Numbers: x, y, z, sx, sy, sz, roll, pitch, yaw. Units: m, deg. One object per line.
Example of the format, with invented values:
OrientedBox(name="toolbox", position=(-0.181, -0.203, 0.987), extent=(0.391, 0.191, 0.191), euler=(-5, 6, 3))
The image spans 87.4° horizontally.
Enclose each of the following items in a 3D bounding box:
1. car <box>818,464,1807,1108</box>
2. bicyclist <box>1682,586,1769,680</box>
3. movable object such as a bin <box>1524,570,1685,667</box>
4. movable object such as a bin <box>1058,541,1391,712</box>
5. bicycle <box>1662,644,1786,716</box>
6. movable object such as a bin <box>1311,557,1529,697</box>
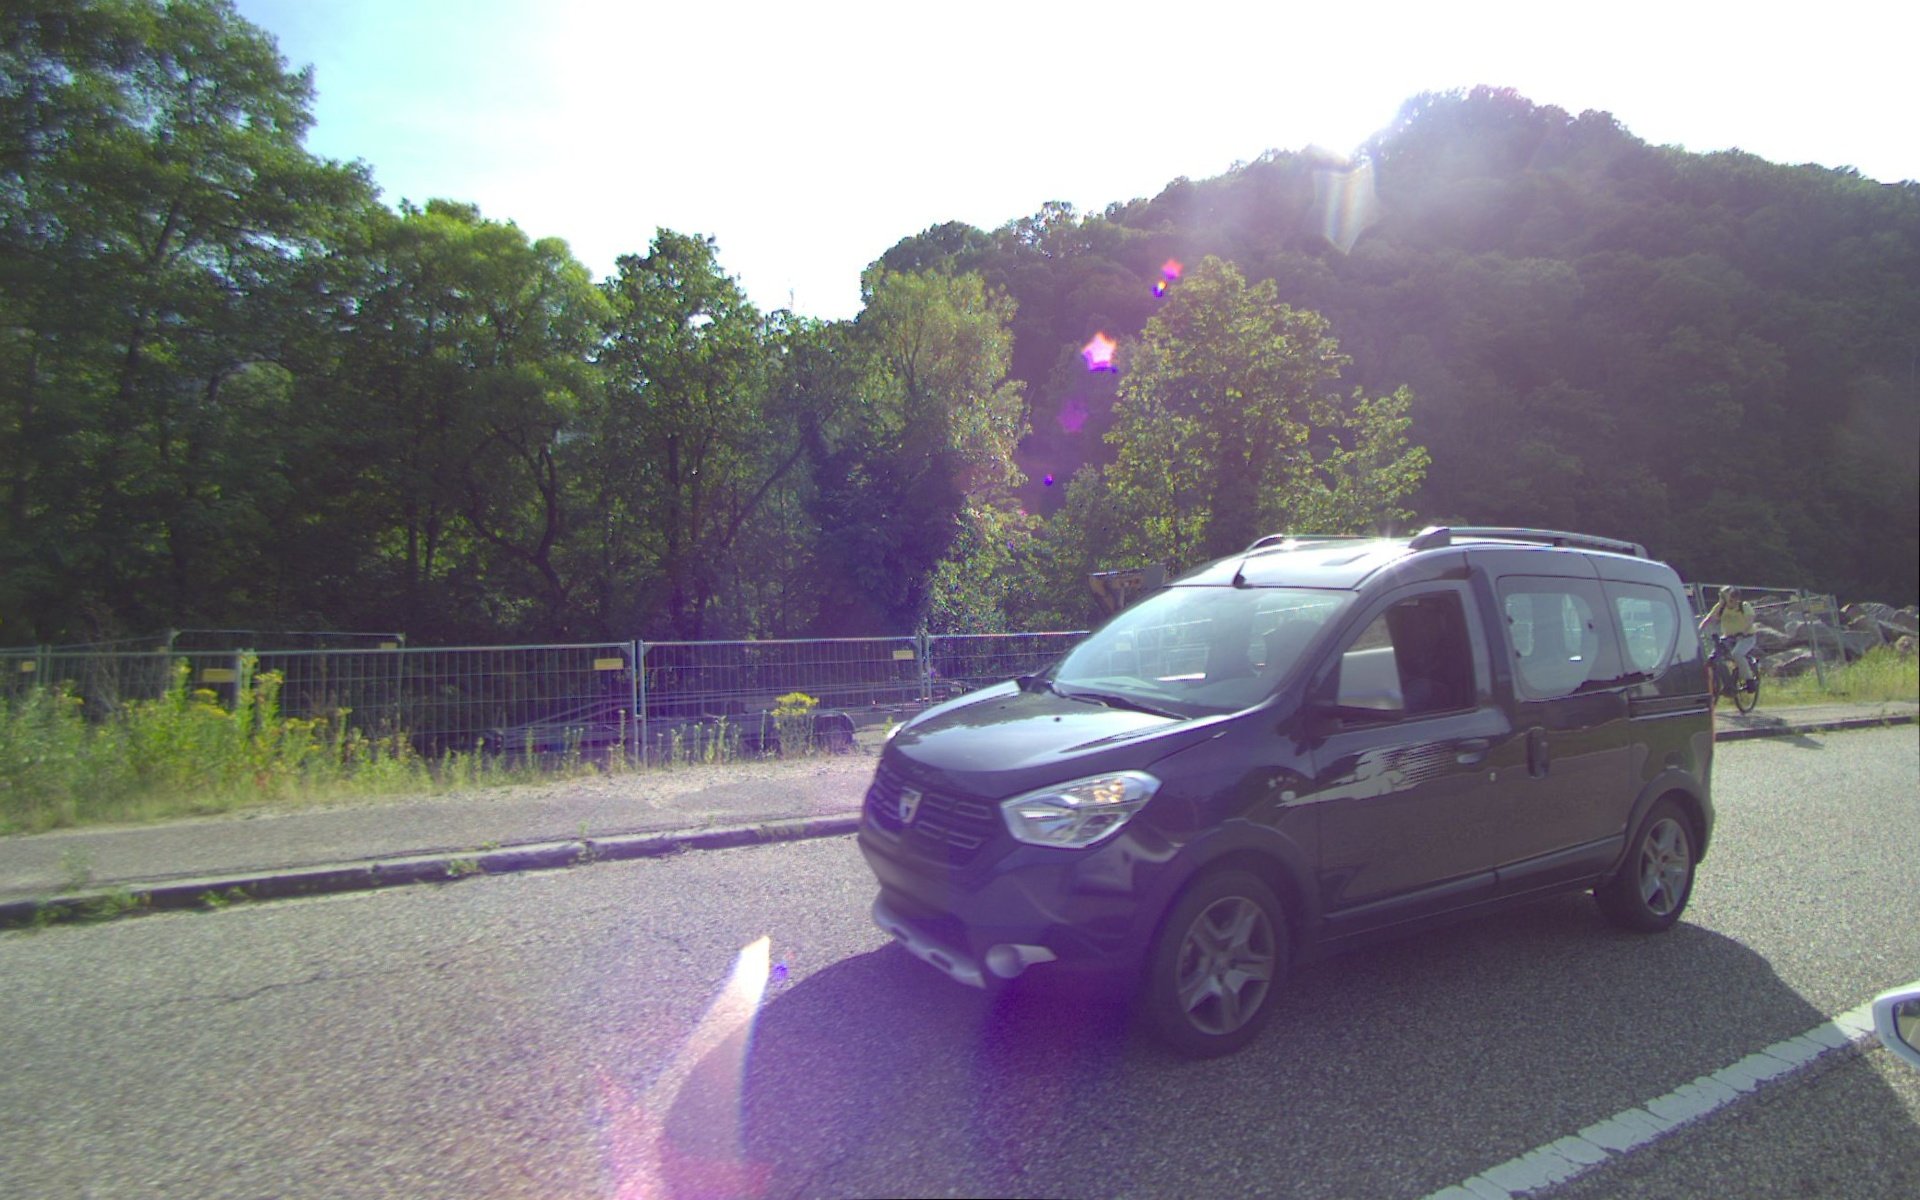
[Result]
OrientedBox(name="car", position=(1.837, 0.548, 4.771), extent=(4.628, 1.808, 1.842), euler=(1, 0, -30))
OrientedBox(name="bicyclist", position=(10.502, 0.440, 13.785), extent=(0.848, 1.241, 0.680), euler=(1, 0, -30))
OrientedBox(name="movable object such as a bin", position=(28.578, 0.892, 44.429), extent=(7.721, 3.999, 2.883), euler=(1, -3, -32))
OrientedBox(name="movable object such as a bin", position=(7.401, 0.767, 27.205), extent=(9.879, 3.999, 2.685), euler=(1, -3, -32))
OrientedBox(name="bicycle", position=(10.481, 1.071, 13.754), extent=(2.226, 0.893, 0.536), euler=(1, 1, -31))
OrientedBox(name="movable object such as a bin", position=(14.612, 0.886, 31.743), extent=(7.148, 3.999, 2.708), euler=(1, -3, -32))
